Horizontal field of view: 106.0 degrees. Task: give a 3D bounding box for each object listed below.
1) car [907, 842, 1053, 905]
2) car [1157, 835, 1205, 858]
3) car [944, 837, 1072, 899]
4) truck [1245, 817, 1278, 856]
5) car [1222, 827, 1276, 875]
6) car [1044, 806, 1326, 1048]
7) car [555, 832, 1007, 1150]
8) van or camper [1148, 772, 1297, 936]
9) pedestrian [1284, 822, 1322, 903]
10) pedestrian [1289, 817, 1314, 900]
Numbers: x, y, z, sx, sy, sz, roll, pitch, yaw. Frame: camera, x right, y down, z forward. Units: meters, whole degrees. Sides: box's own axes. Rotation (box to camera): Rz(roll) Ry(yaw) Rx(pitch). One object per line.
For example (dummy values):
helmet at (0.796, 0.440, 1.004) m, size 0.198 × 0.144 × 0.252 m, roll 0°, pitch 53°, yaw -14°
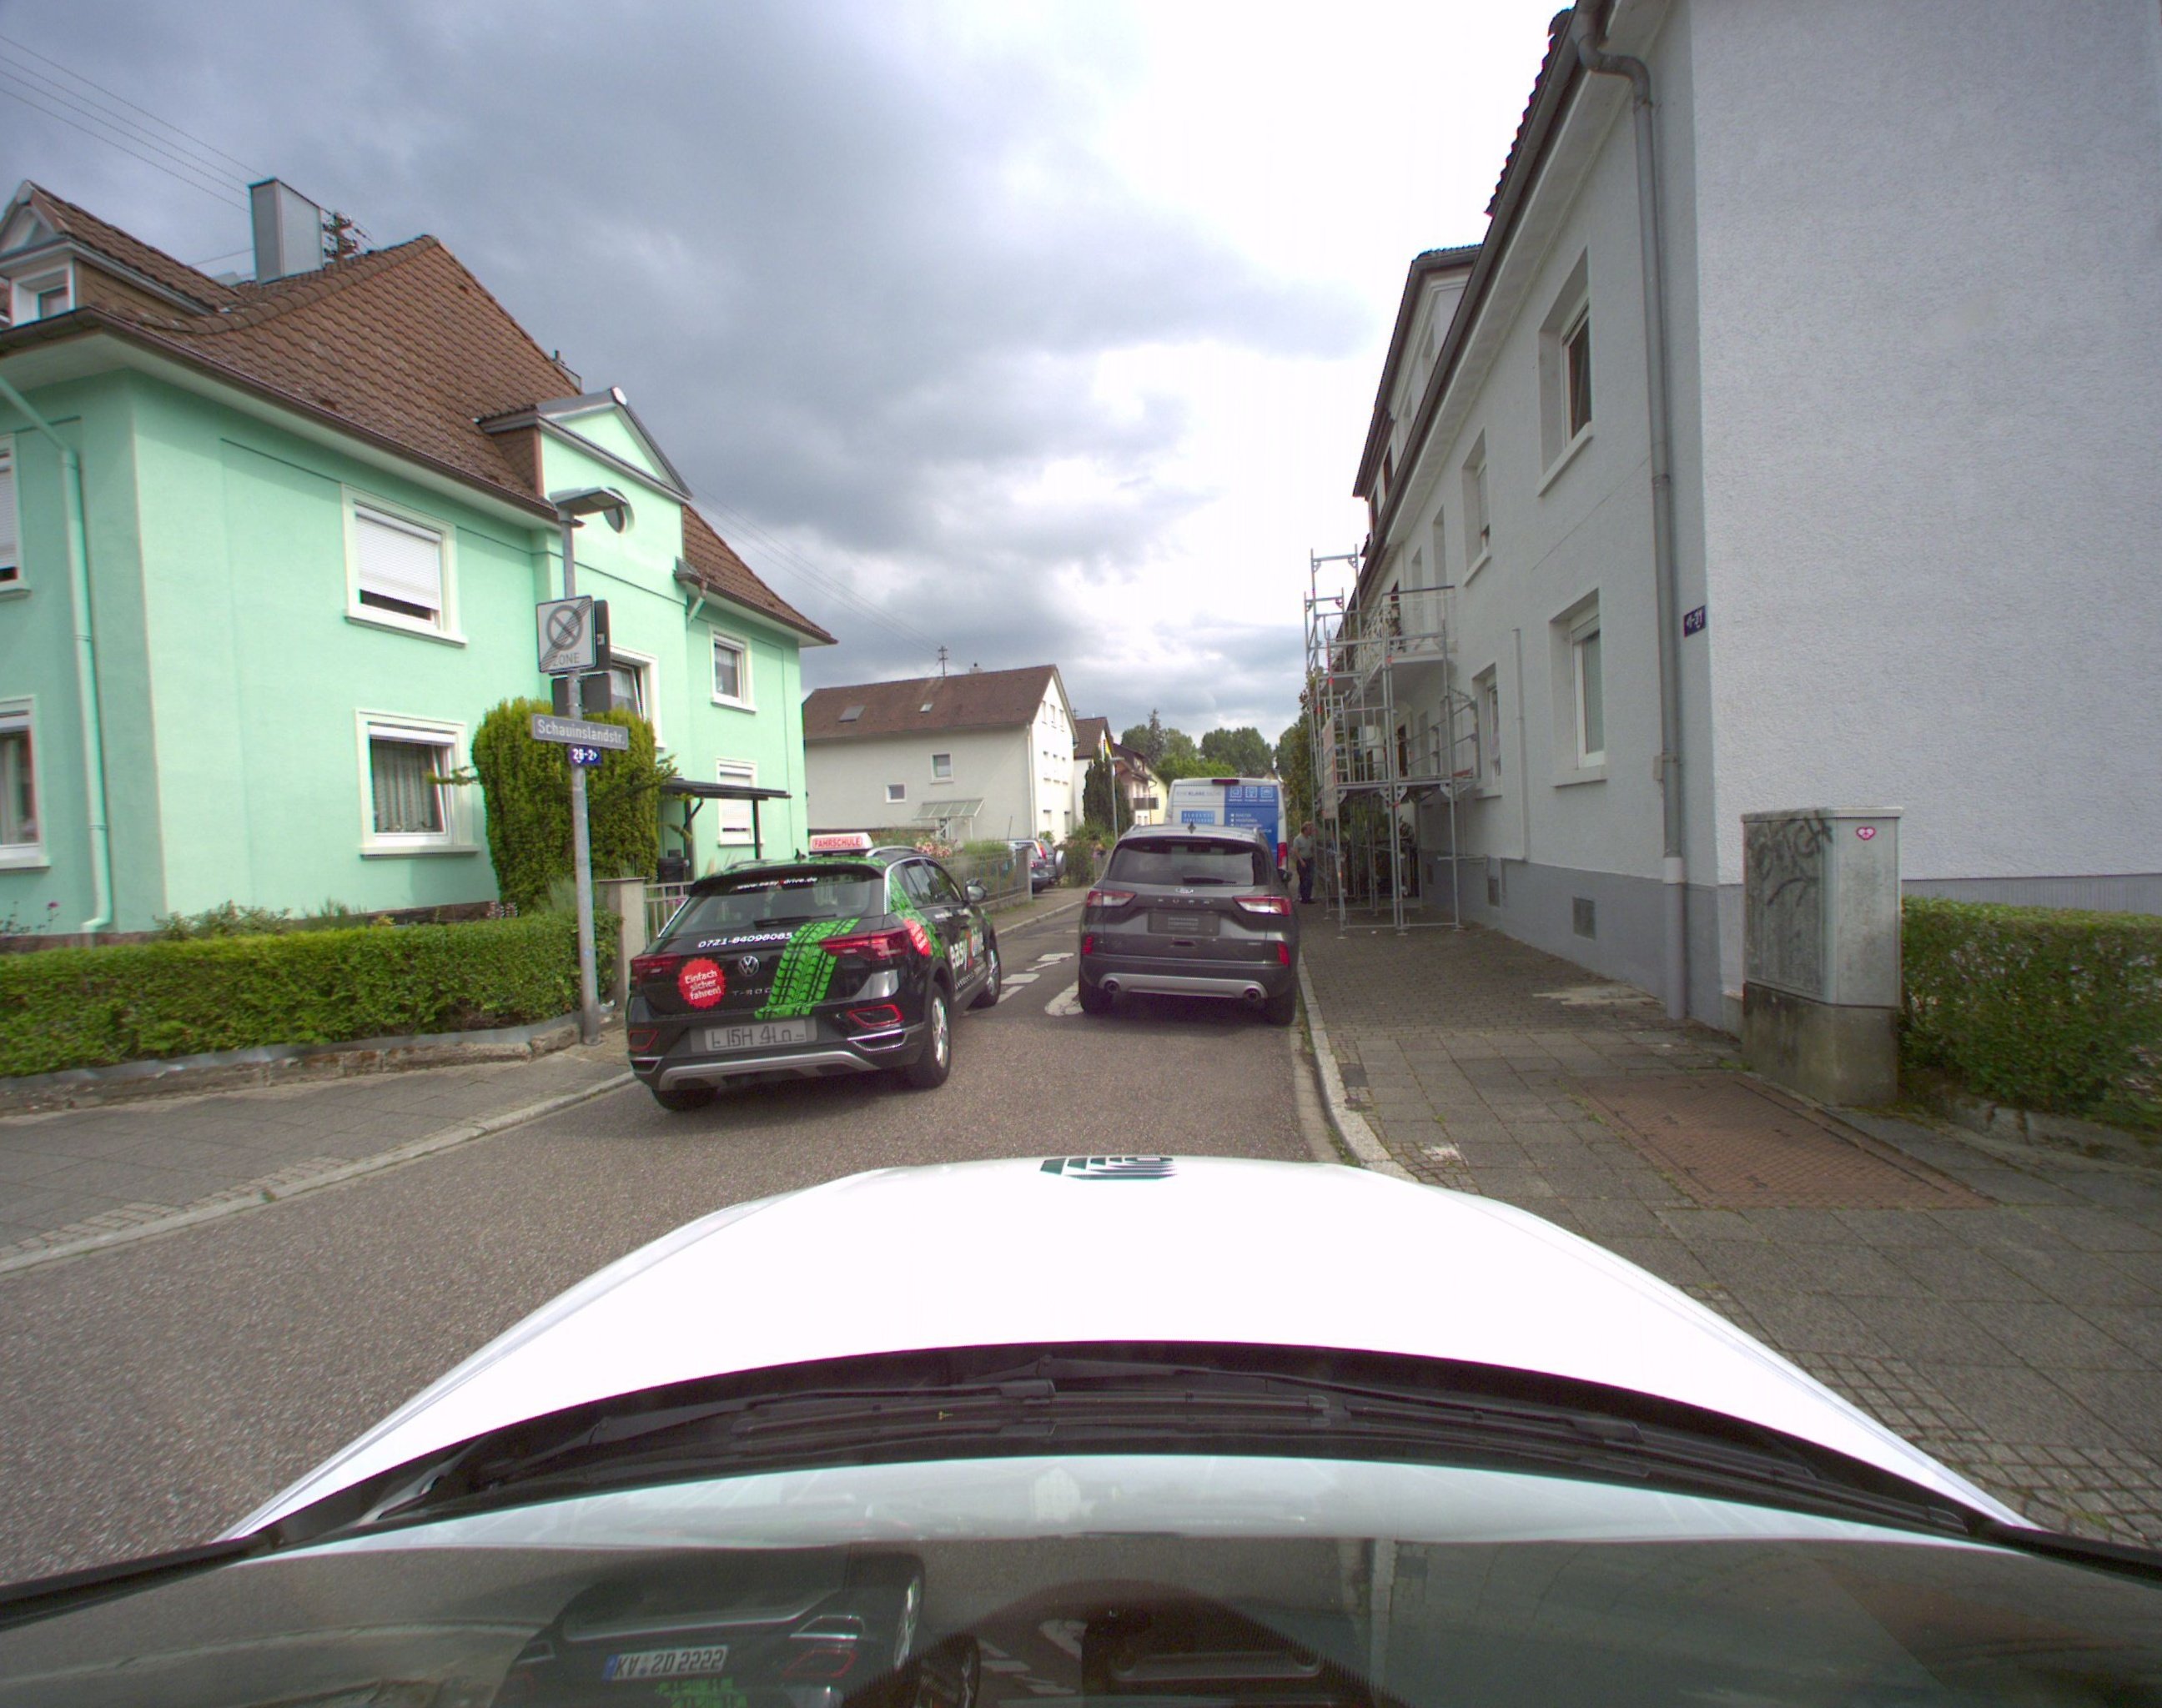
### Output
car at (-2.715, 0.507, 22.165) m, size 3.550 × 1.500 × 1.592 m, roll -3°, pitch 0°, yaw 9°
car at (8.660, -0.655, 70.696) m, size 3.963 × 1.772 × 1.875 m, roll -3°, pitch -1°, yaw 9°
car at (-2.205, 0.414, 25.096) m, size 3.550 × 1.667 × 1.592 m, roll -3°, pitch 0°, yaw 9°
truck at (13.366, -1.318, 60.530) m, size 2.116 × 2.657 × 4.599 m, roll -3°, pitch 1°, yaw 11°
car at (6.926, -0.166, 33.819) m, size 1.981 × 1.749 × 4.355 m, roll -3°, pitch 1°, yaw 10°
car at (1.139, 0.507, 8.165) m, size 1.981 × 1.726 × 4.355 m, roll -3°, pitch 1°, yaw 10°
car at (-1.739, 0.698, 6.241) m, size 1.810 × 1.520 × 4.043 m, roll -4°, pitch 0°, yaw 1°
van or camper at (2.738, -0.059, 15.199) m, size 2.177 × 2.459 × 5.072 m, roll -3°, pitch 1°, yaw 12°
pedestrian at (4.630, 0.176, 17.009) m, size 0.620 × 1.629 × 0.604 m, roll -3°, pitch -1°, yaw 6°
pedestrian at (4.803, 0.092, 17.750) m, size 0.405 × 1.762 × 0.515 m, roll -3°, pitch -1°, yaw 12°
